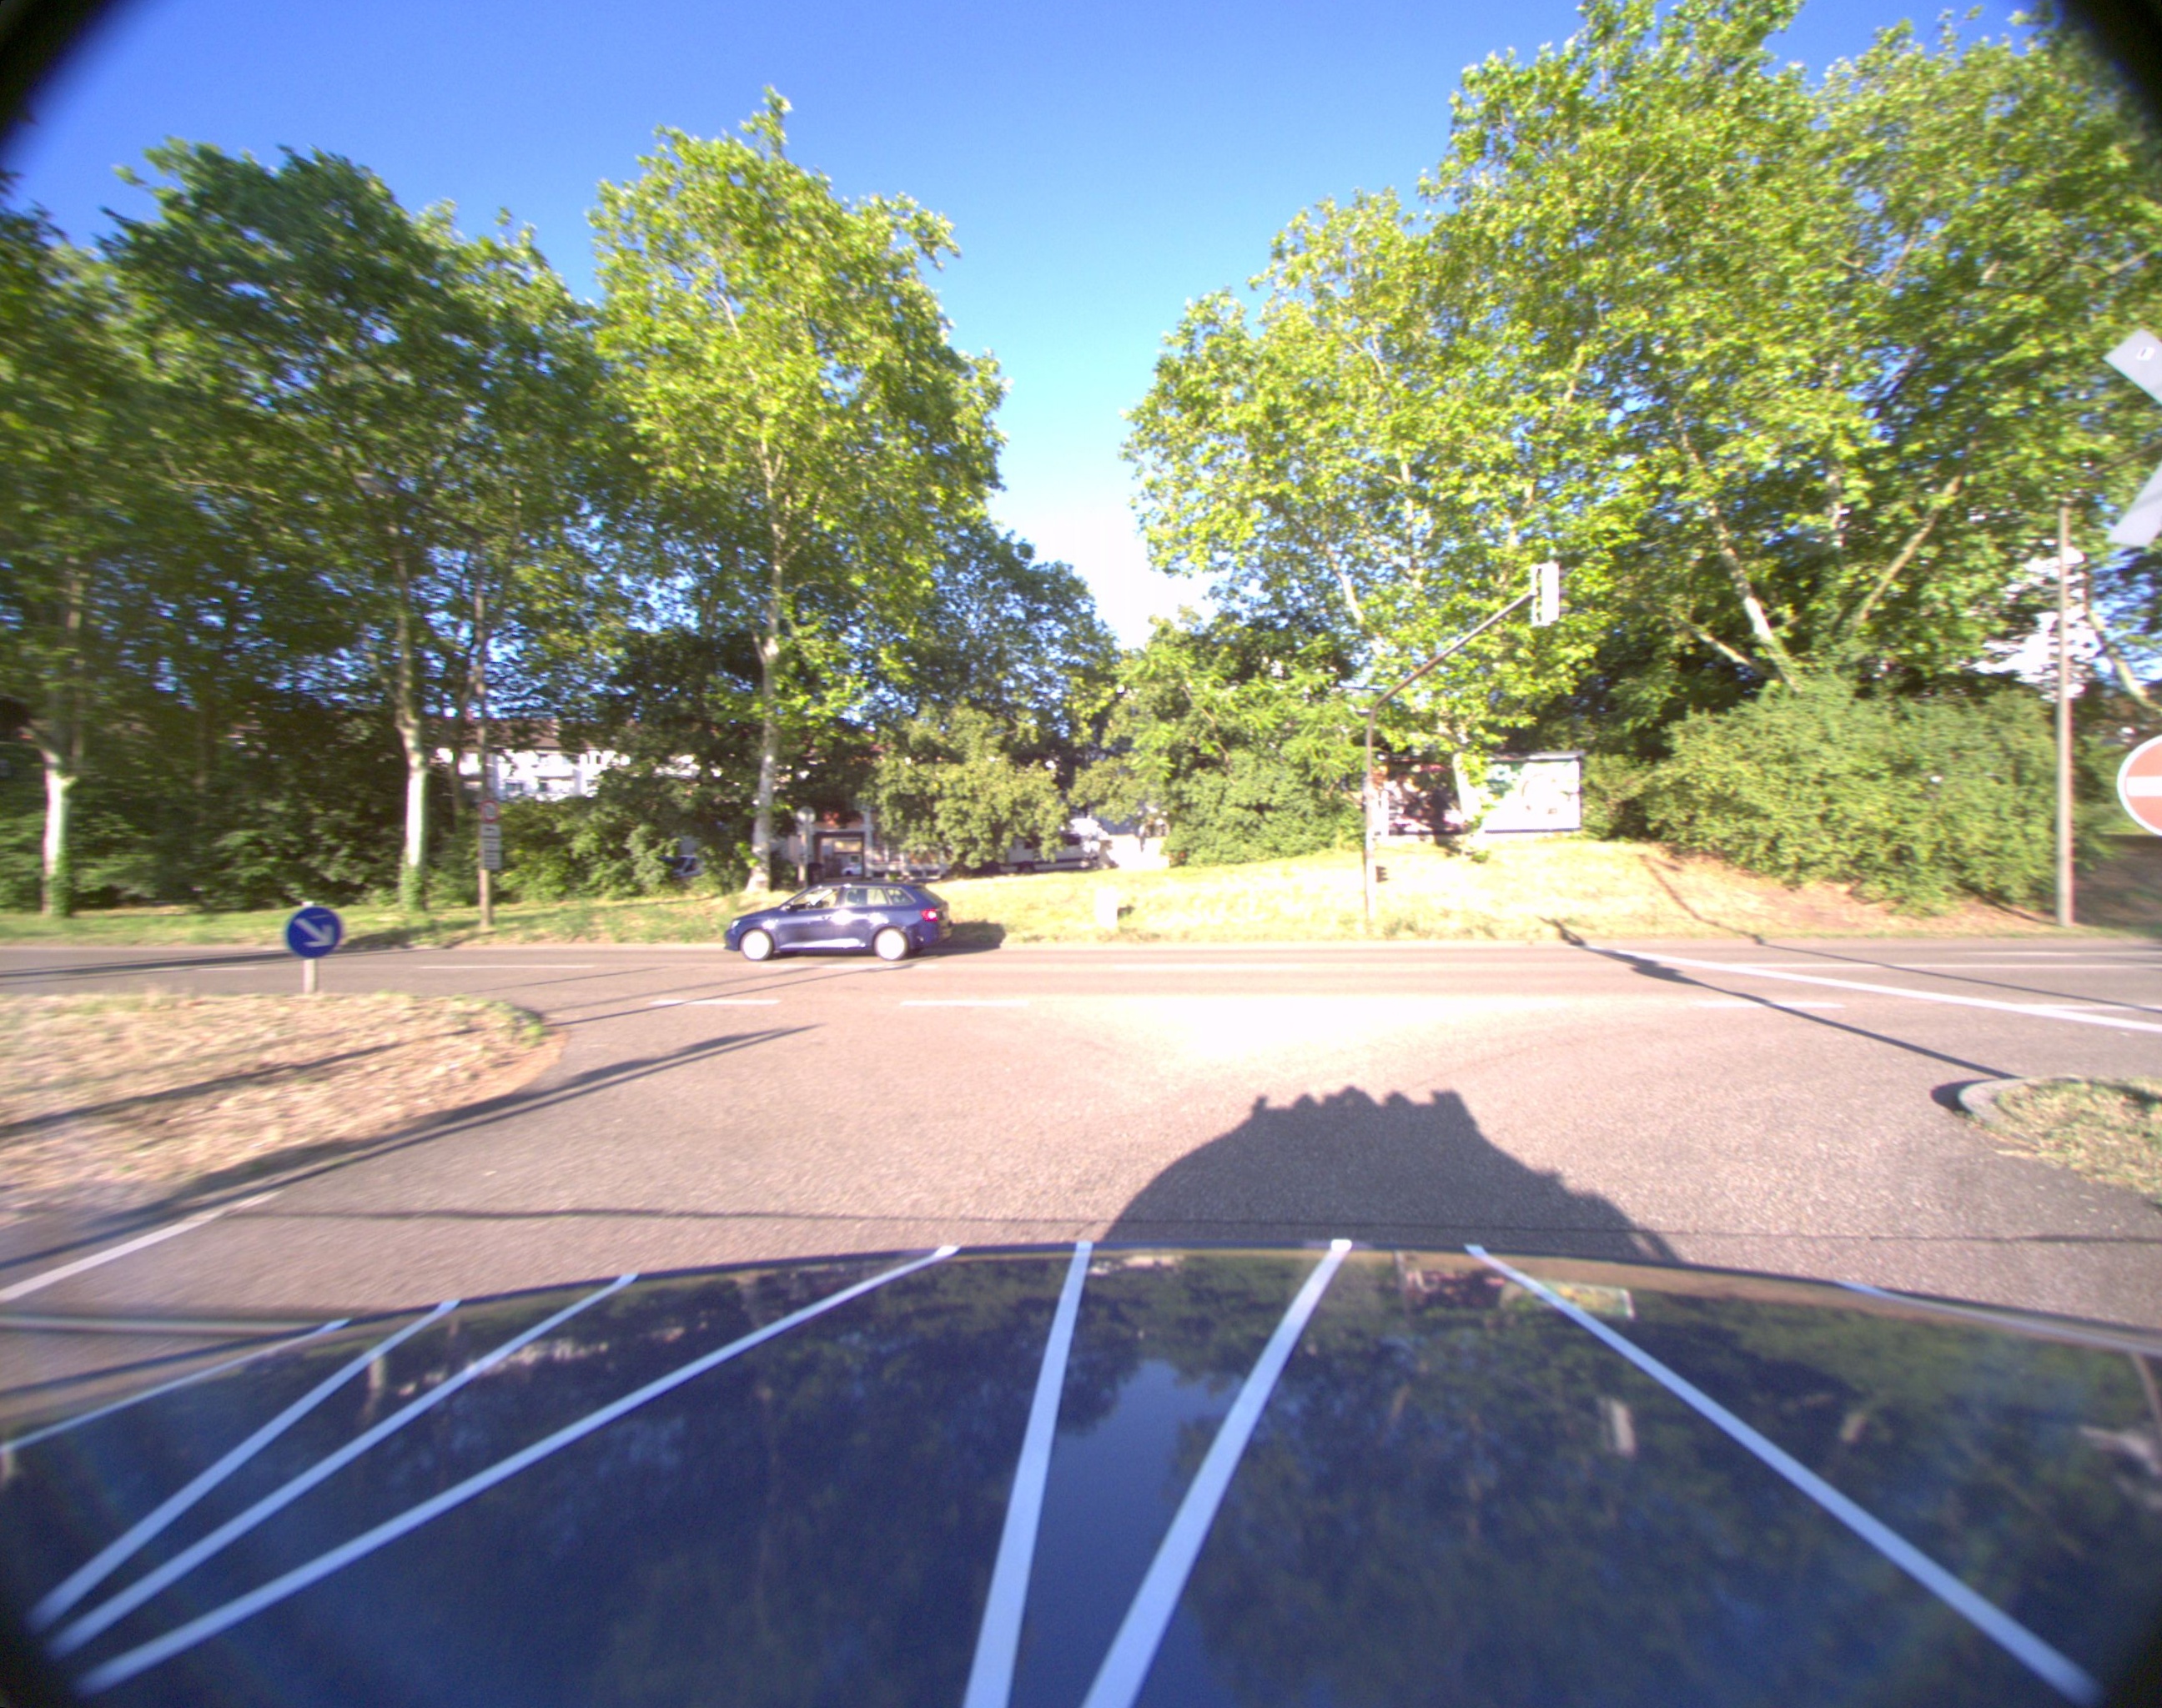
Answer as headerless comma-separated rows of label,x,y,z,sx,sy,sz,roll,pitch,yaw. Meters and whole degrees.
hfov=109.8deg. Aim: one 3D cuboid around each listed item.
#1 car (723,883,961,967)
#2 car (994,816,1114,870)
car,-4.425,1.309,14.435,3.981,1.433,1.631,-1,-1,3
car,-1.290,-0.486,37.445,5.620,2.498,1.808,-1,-1,7
